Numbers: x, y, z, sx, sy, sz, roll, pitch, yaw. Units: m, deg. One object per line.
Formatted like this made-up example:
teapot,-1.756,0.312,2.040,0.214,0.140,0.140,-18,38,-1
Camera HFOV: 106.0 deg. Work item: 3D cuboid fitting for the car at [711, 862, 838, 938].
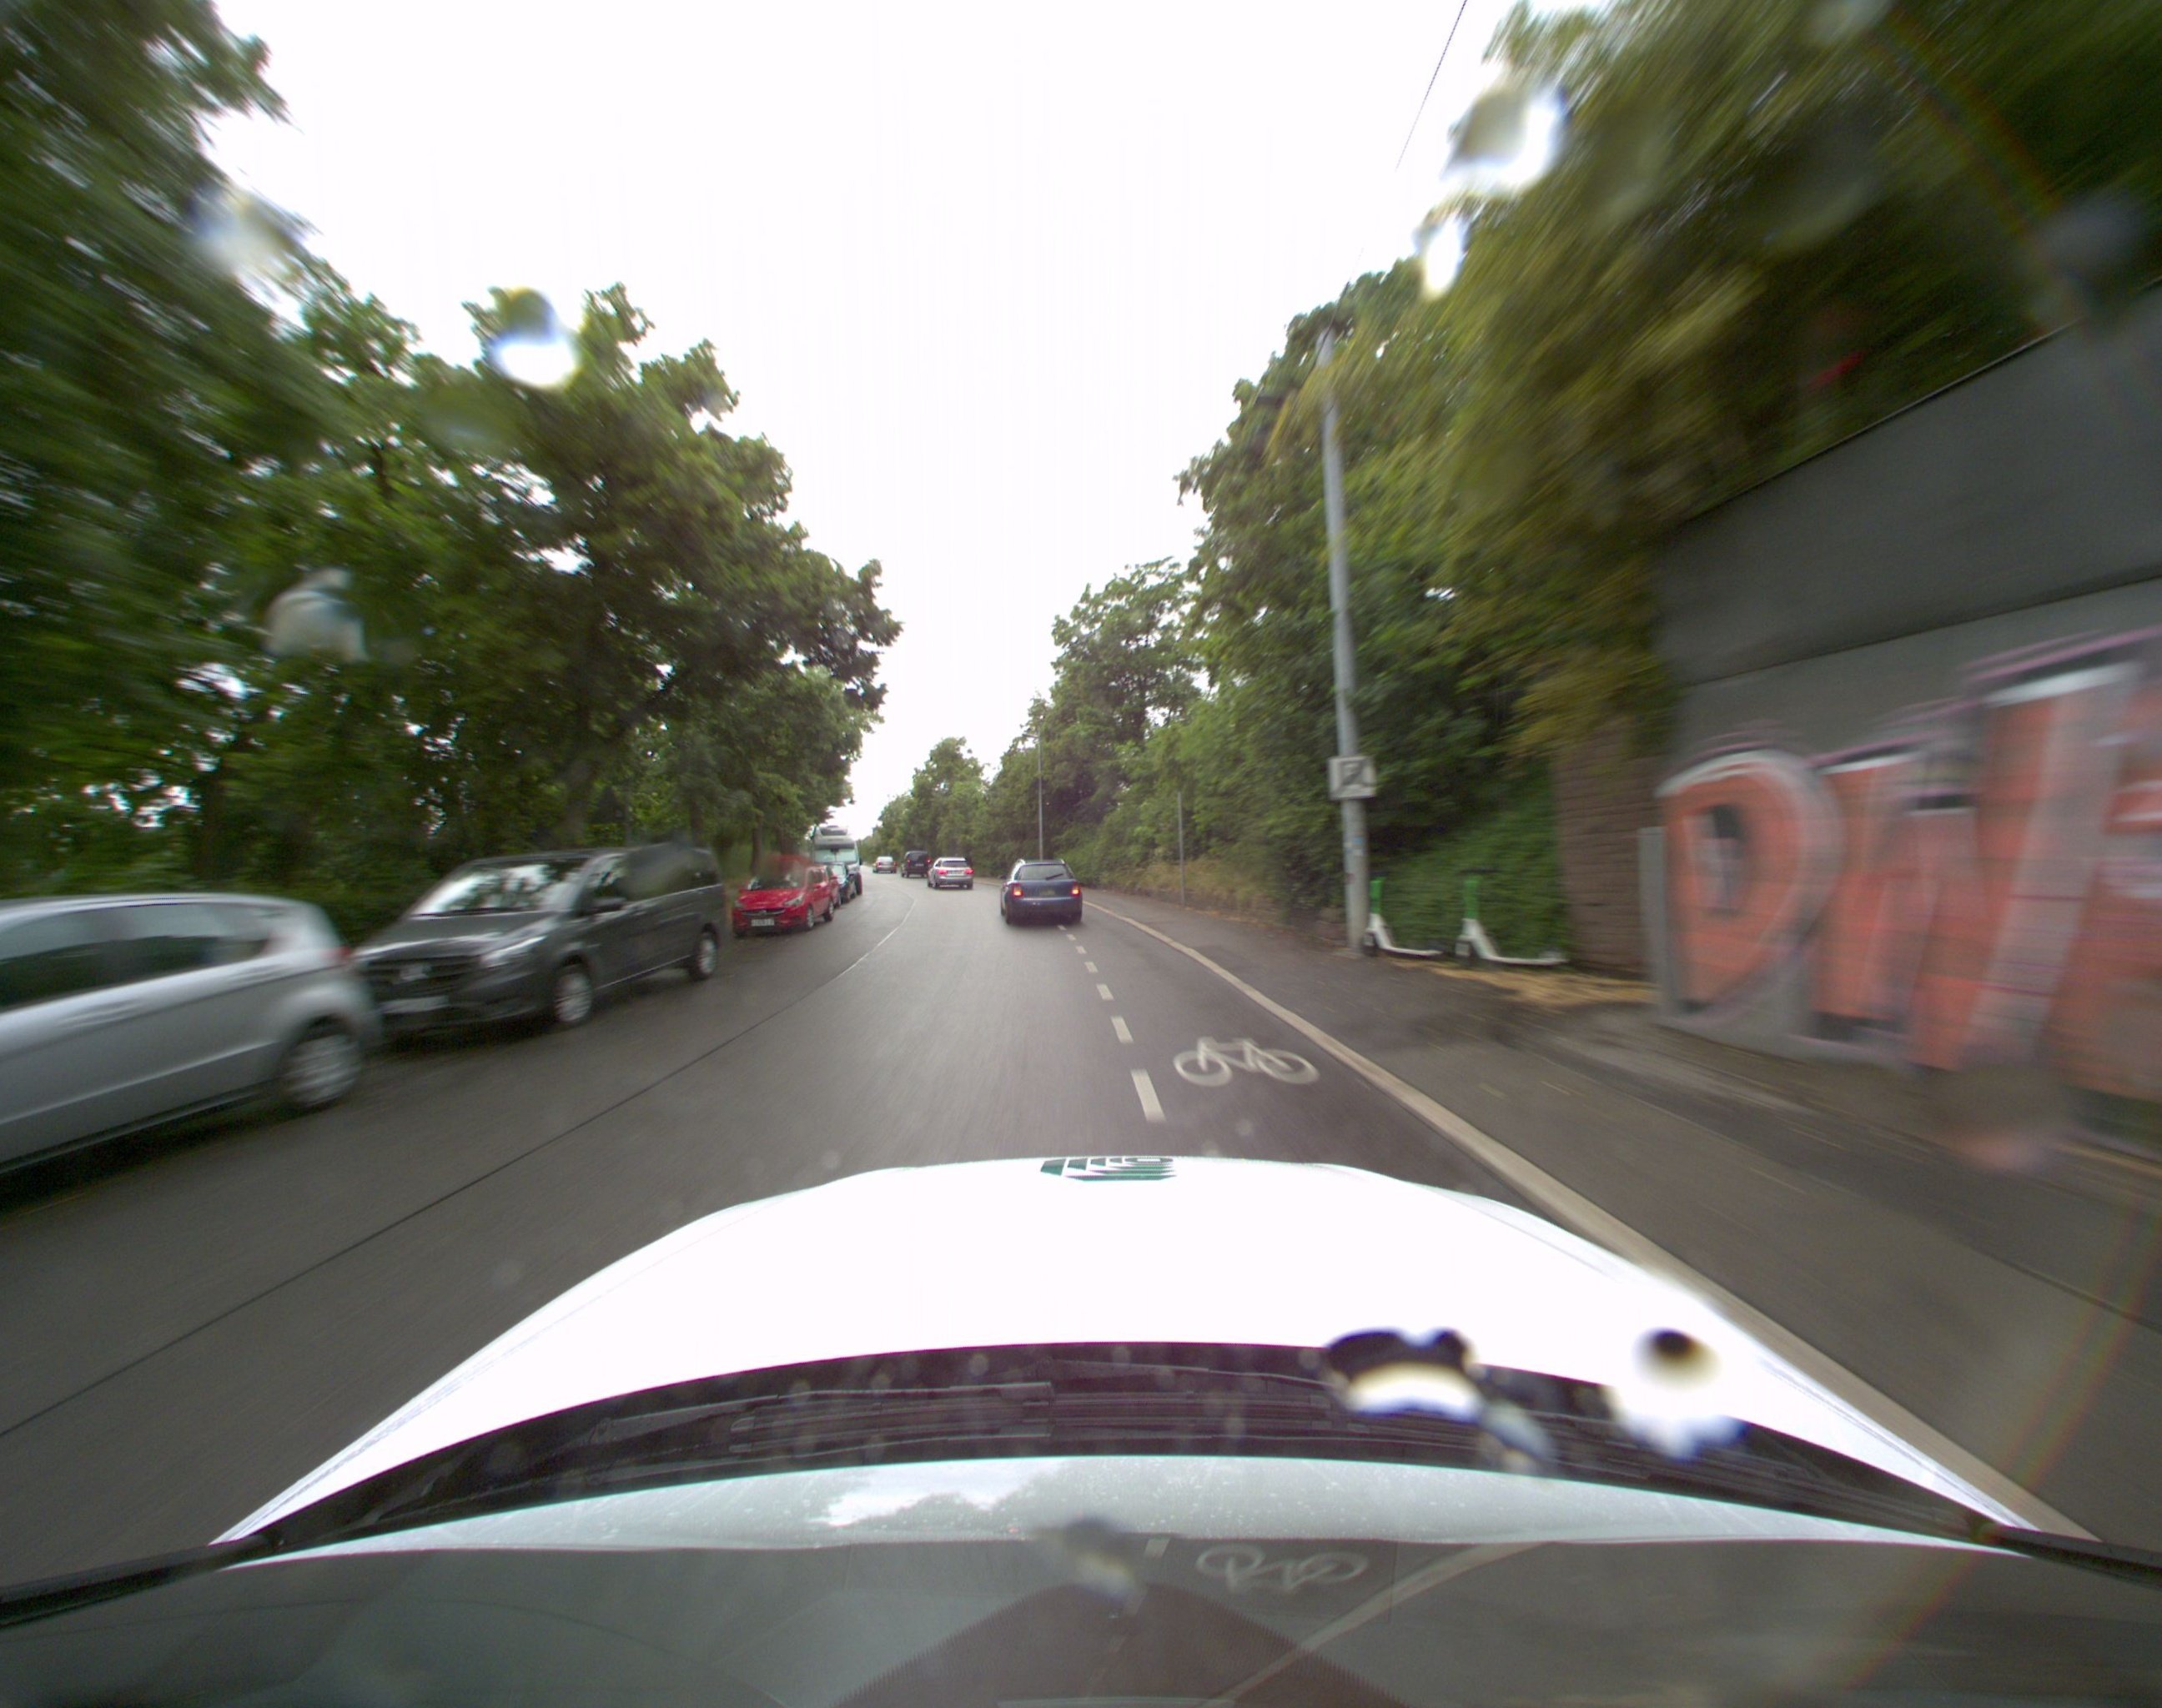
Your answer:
car,-7.386,1.031,20.150,1.954,1.461,4.561,-4,1,-9

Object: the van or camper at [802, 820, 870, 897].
van or camper,-11.086,0.206,36.510,2.514,3.026,6.518,-3,0,-19

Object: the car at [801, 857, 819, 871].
car,-29.475,1.116,88.640,1.693,1.437,4.230,-1,0,-18

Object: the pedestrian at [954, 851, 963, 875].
pedestrian,-8.209,0.596,54.588,0.553,1.566,0.484,-2,0,-15

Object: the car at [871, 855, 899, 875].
car,-17.125,0.949,70.975,1.829,1.617,3.757,-2,0,-22

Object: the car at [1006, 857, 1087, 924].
car,-0.895,0.791,19.670,1.744,1.407,3.994,-1,0,-4

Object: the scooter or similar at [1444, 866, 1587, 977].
scooter or similar,4.751,0.708,8.997,0.348,1.117,1.409,0,-2,-29

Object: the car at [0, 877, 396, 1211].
car,-6.056,0.997,4.306,1.680,1.552,3.763,-5,-1,-3

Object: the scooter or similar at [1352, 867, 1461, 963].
scooter or similar,4.088,0.730,10.321,0.347,1.117,1.411,-1,-1,-24

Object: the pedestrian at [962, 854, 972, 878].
pedestrian,-7.648,0.809,54.724,0.596,1.566,0.665,-1,0,-16

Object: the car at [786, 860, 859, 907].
car,-9.414,1.020,30.022,1.955,1.408,4.193,-4,1,-10

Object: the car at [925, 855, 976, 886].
car,-6.283,0.757,38.887,1.895,1.389,3.978,-1,0,-16

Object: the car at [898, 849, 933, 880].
car,-11.707,0.753,57.313,1.794,1.953,3.973,-4,0,-19

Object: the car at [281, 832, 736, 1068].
car,-6.217,0.823,9.863,1.949,1.967,4.998,-5,1,-2

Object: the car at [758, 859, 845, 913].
car,-8.679,0.931,25.591,1.955,1.408,3.531,-4,1,-10

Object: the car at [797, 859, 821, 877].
car,-22.078,1.125,65.994,1.602,1.362,3.971,-1,0,-22
